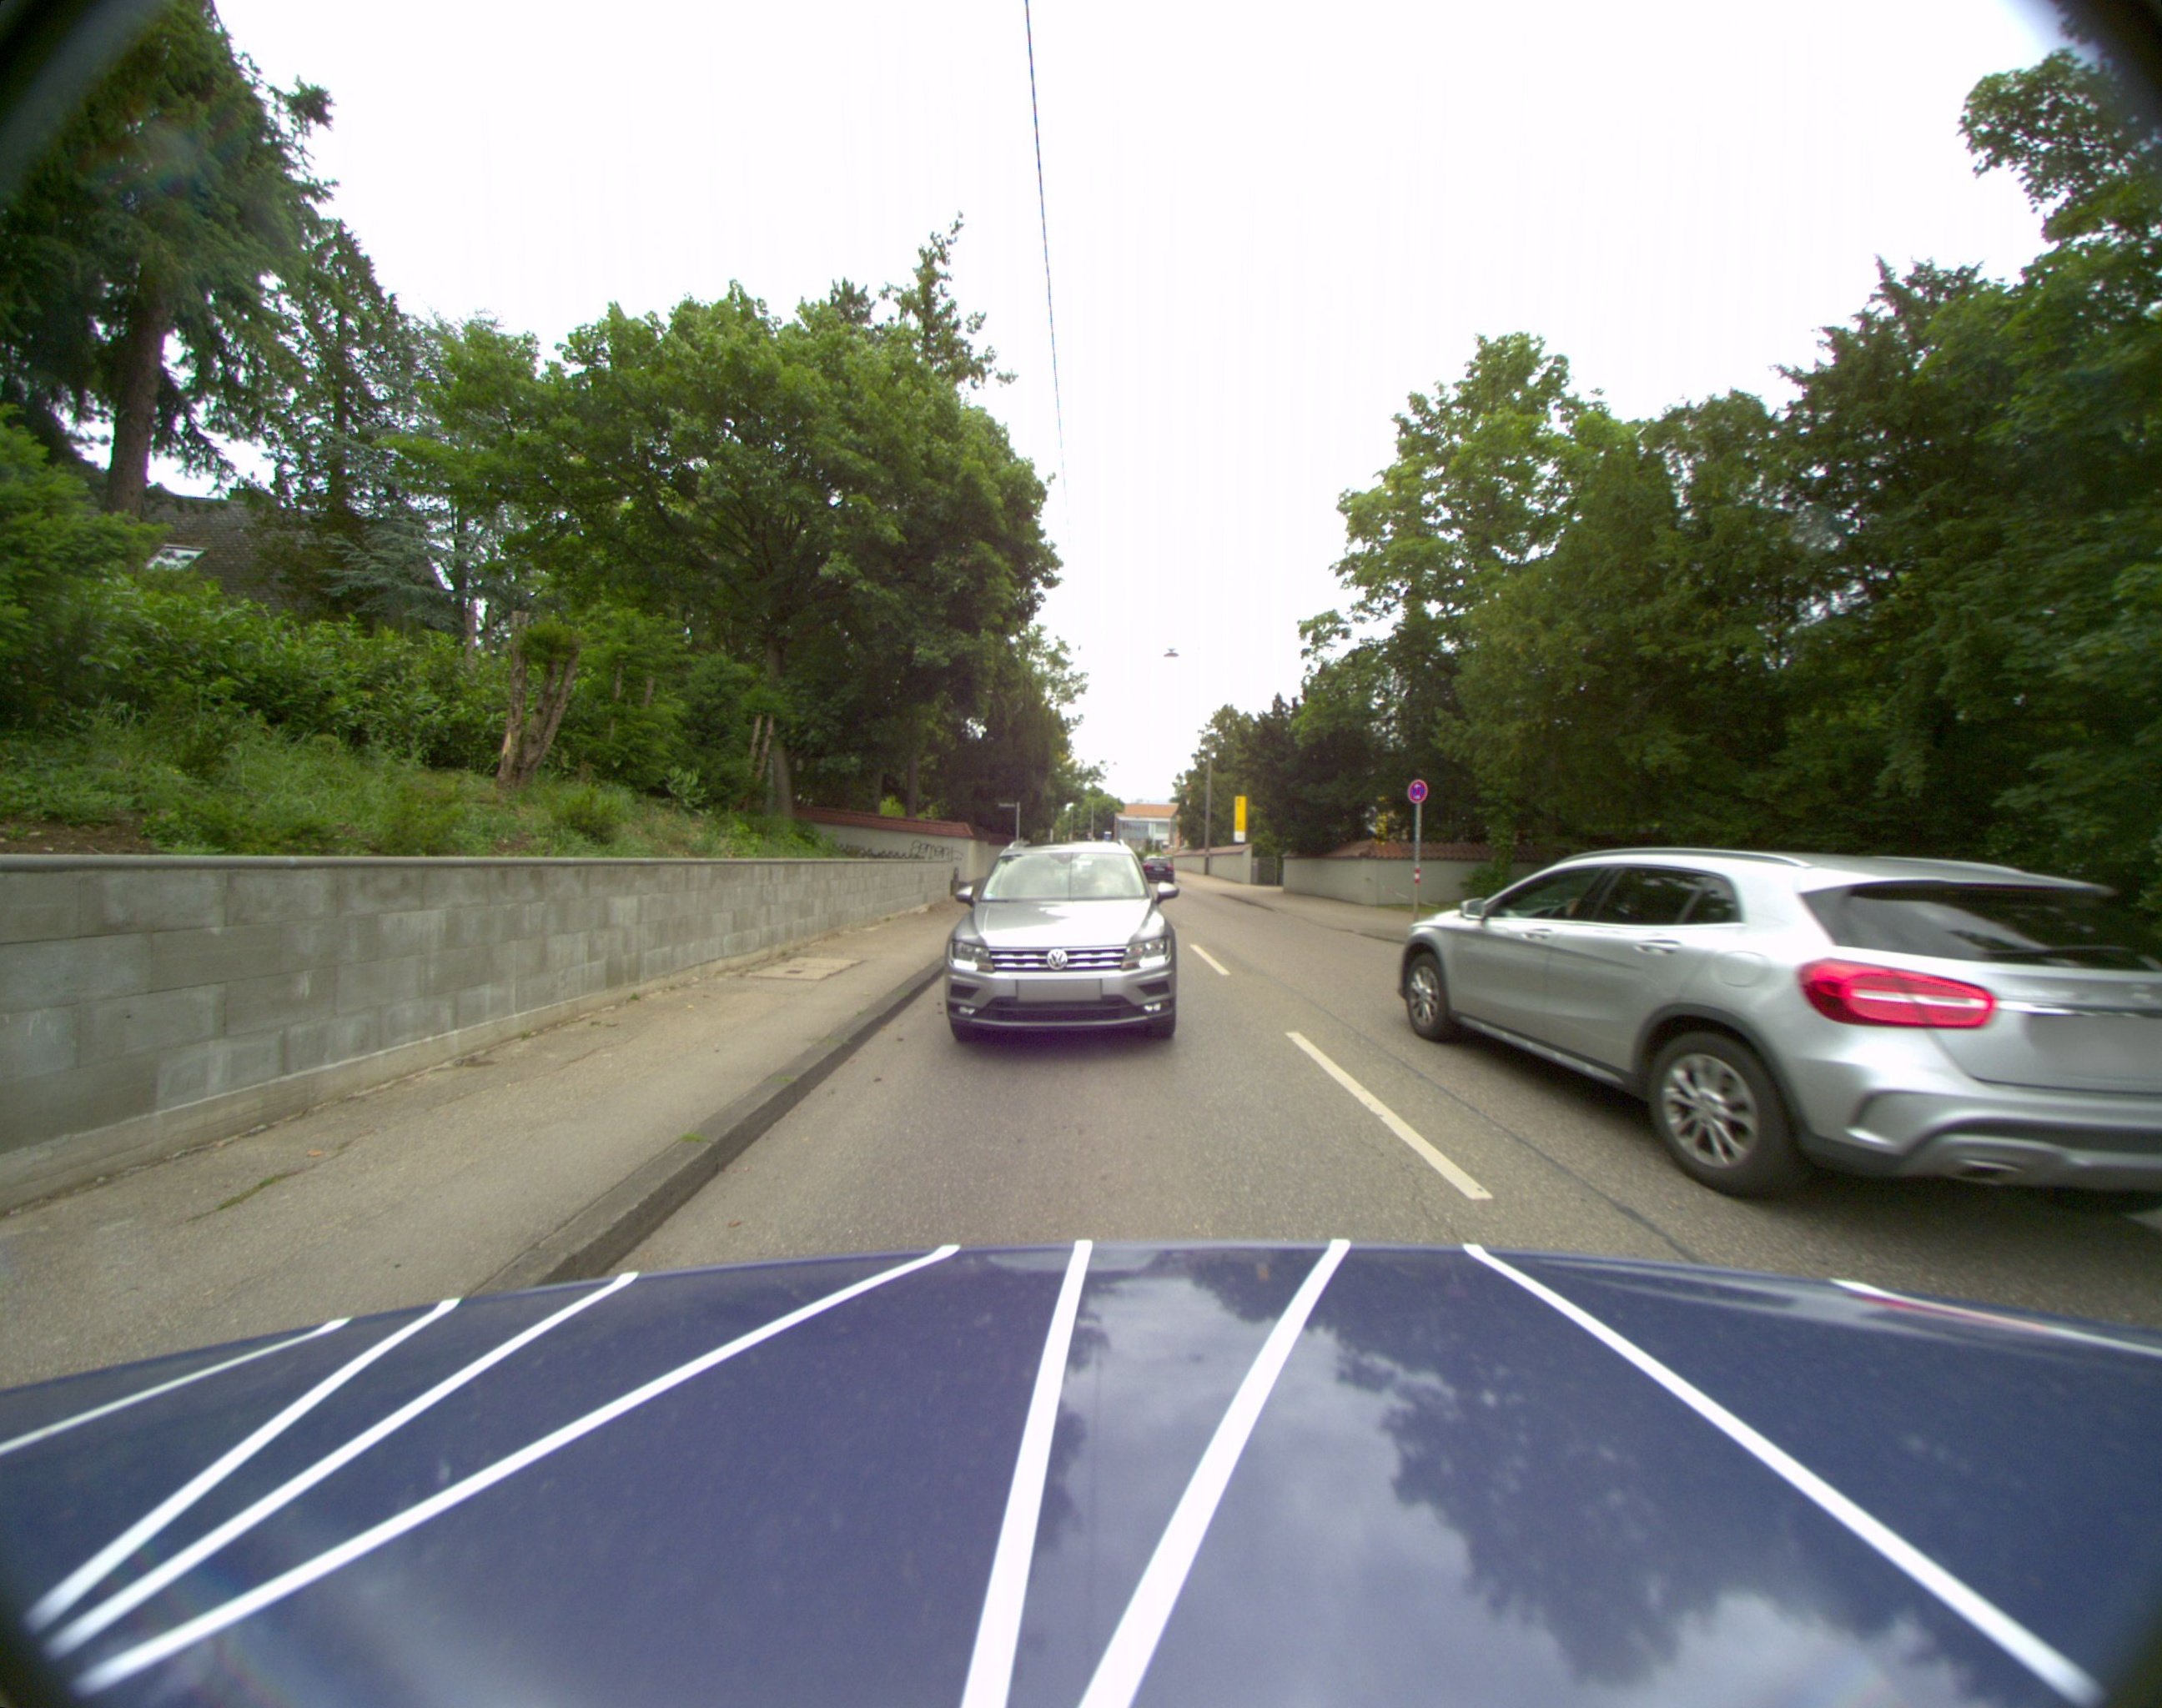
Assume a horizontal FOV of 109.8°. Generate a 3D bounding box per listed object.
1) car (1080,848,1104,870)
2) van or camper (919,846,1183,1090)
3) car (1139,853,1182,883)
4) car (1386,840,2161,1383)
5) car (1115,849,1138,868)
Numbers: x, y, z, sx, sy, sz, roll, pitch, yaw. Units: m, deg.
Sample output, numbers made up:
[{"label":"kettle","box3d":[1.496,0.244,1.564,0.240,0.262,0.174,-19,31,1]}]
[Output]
[{"label":"car","box3d":[0.885,0.363,61.575,1.789,1.644,4.120,3,0,1]},{"label":"van or camper","box3d":[-0.179,0.768,7.294,1.800,1.663,4.198,0,0,1]},{"label":"car","box3d":[4.247,0.716,41.134,1.864,1.445,4.110,3,0,1]},{"label":"car","box3d":[3.557,0.810,4.398,1.789,1.644,4.120,3,0,-1]},{"label":"car","box3d":[4.260,0.388,71.819,1.864,1.648,4.306,3,0,1]}]
